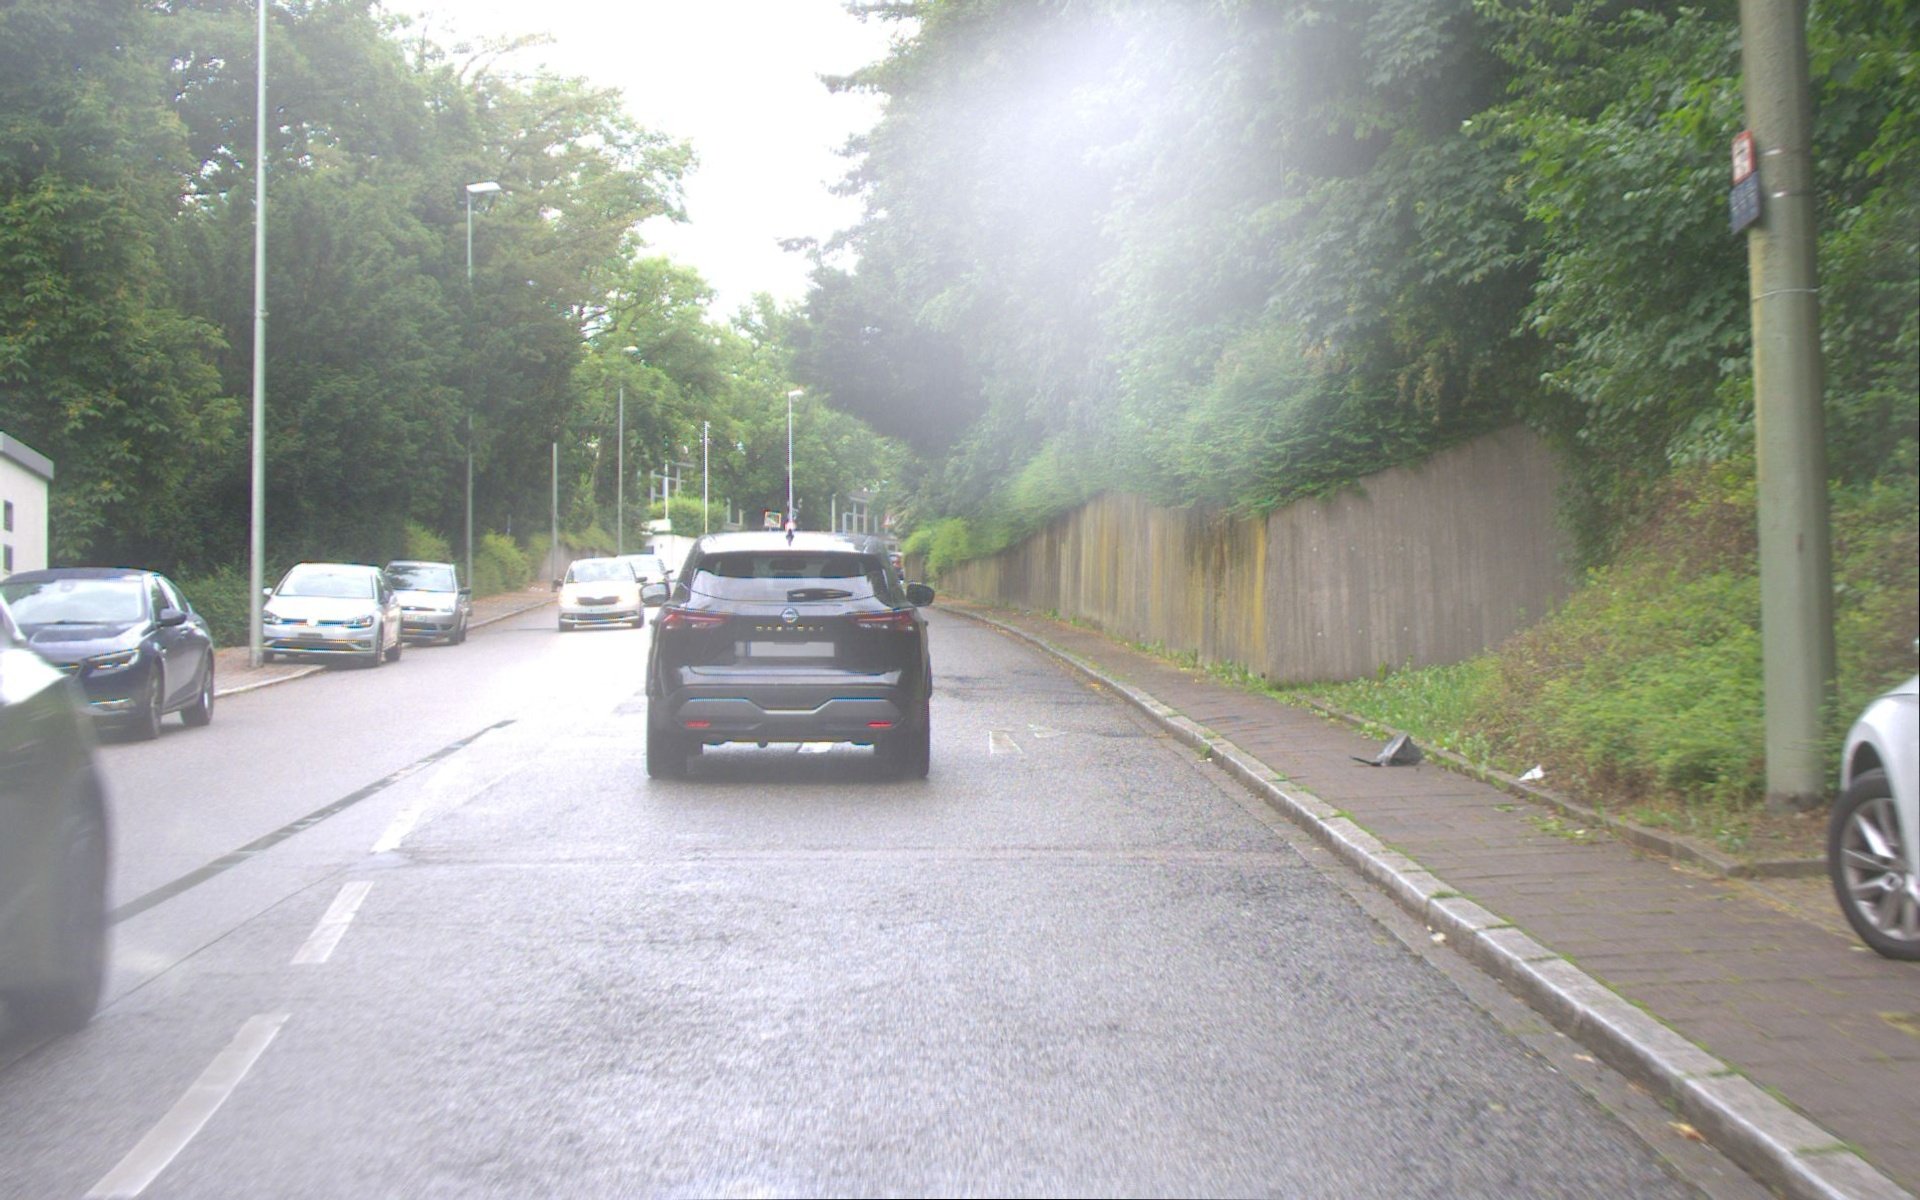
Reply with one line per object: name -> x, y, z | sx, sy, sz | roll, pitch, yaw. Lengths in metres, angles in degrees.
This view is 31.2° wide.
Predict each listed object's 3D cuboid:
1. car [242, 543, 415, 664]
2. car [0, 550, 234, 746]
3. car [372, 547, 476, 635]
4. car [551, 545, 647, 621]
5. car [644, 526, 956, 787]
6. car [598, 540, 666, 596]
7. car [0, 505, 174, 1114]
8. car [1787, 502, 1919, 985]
car -> -9.274, 0.013, 50.789 | 1.886, 1.606, 4.240 | -3, 1, -3
car -> -7.718, 0.377, 30.190 | 1.859, 1.488, 4.756 | -4, 1, -4
car -> -9.690, -0.186, 62.336 | 1.625, 1.494, 3.929 | 1, 1, -6
car -> -7.372, -0.372, 70.451 | 1.724, 1.430, 3.913 | -3, 1, -4
car -> -1.128, 0.313, 23.306 | 1.928, 1.607, 4.001 | 0, 1, -4
car -> -9.133, -0.911, 95.913 | 1.760, 1.486, 4.001 | -2, 1, -4
car -> -3.534, 0.577, 9.102 | 1.936, 1.619, 4.500 | -1, 1, -1
car -> 3.771, 0.418, 9.569 | 1.738, 1.473, 4.740 | -3, 1, 0
